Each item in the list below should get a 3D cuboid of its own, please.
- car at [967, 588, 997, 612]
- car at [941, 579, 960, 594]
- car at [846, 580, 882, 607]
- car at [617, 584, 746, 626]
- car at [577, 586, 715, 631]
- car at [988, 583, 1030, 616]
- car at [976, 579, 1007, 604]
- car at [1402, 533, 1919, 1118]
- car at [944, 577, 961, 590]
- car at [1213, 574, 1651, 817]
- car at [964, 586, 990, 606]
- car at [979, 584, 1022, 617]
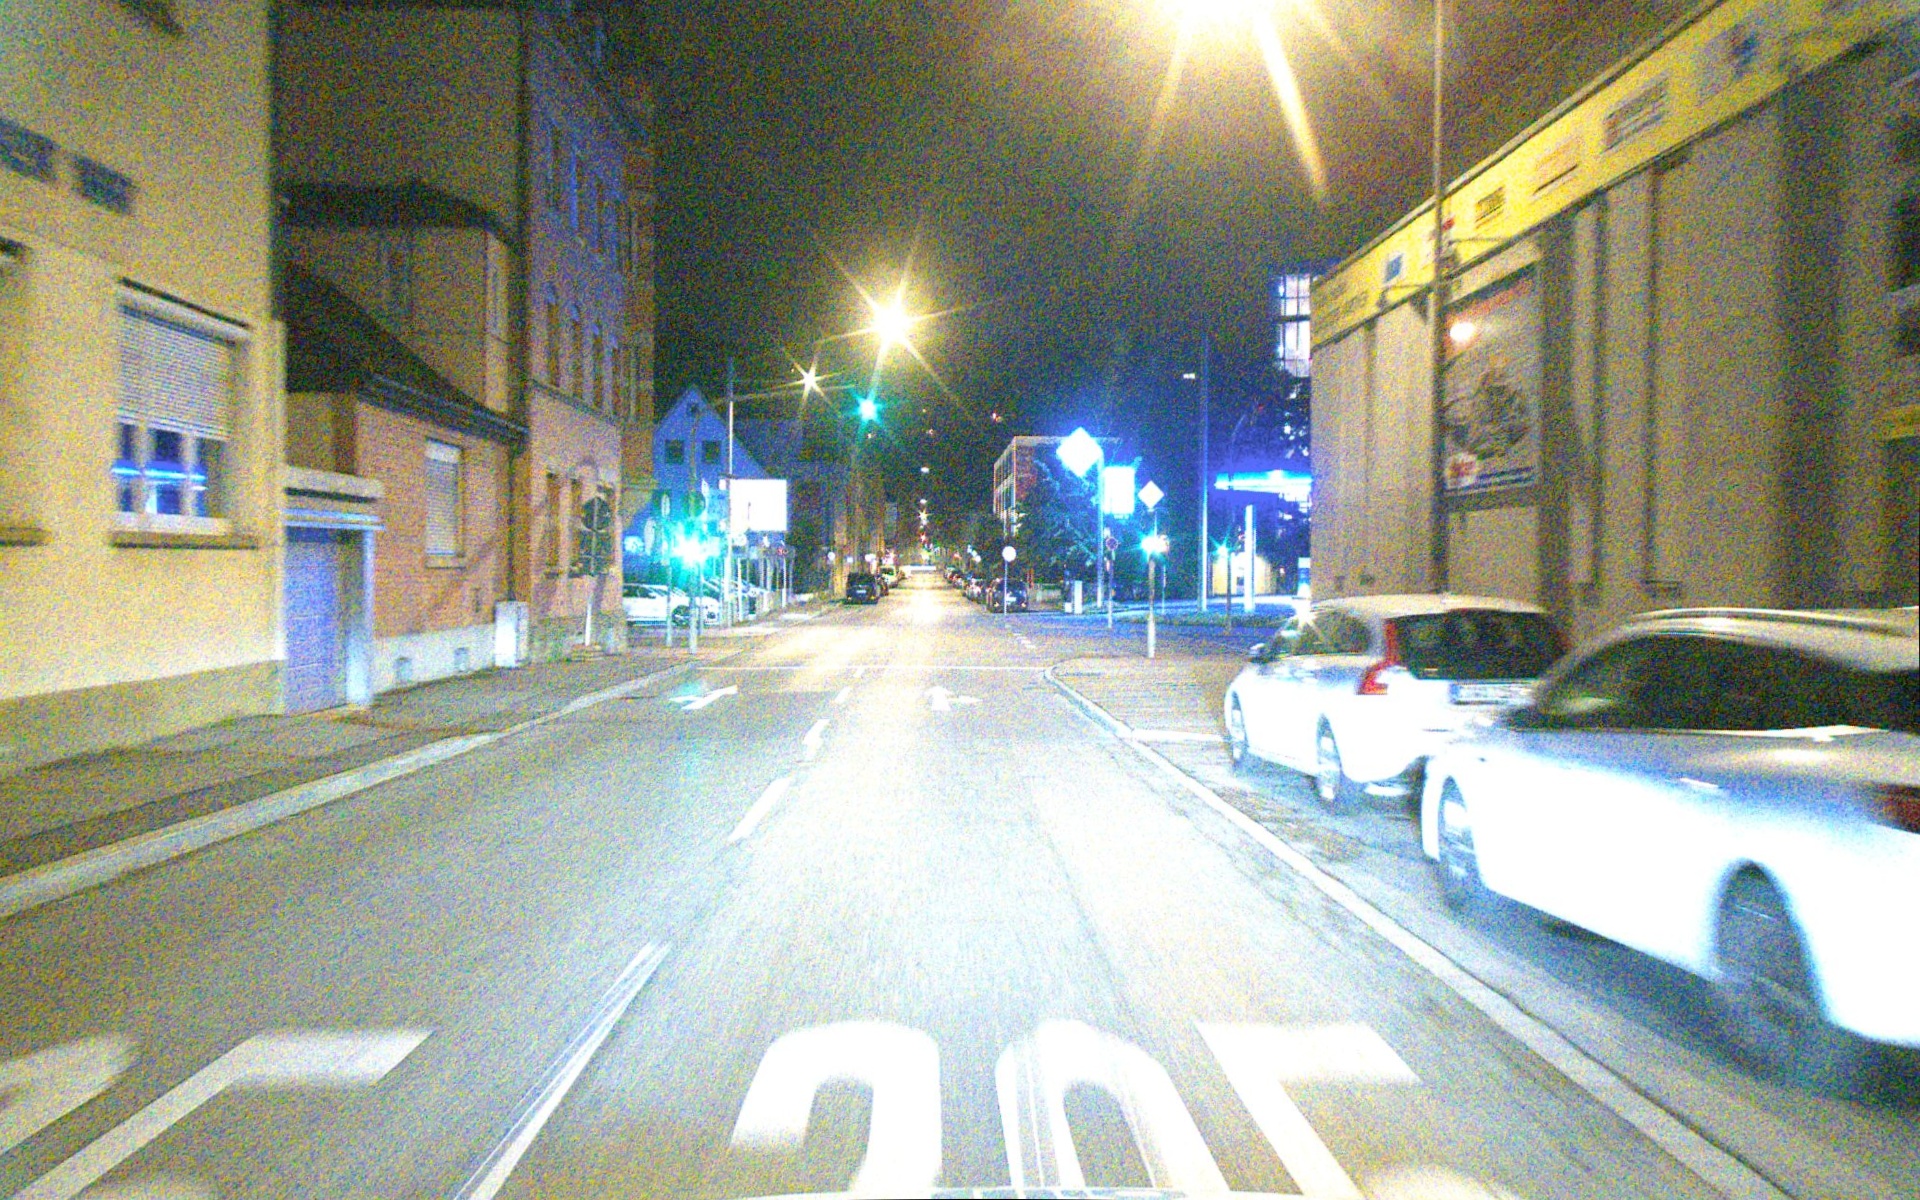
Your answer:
[{"bbox_3d":[1.494,0.021,111.991,1.952,1.546,4.000,1,0,0],"label":"car"},{"bbox_3d":[-0.965,-1.425,176.876,1.952,1.546,4.000,1,0,0],"label":"car"},{"bbox_3d":[-5.741,-0.368,99.124,1.953,1.528,3.999,1,0,-1],"label":"car"},{"bbox_3d":[-10.019,0.180,59.682,4.350,1.475,1.999,1,0,-3],"label":"car"},{"bbox_3d":[-10.691,0.293,56.522,4.349,1.475,1.999,1,0,-2],"label":"car"},{"bbox_3d":[2.360,-0.035,80.744,1.952,1.543,4.000,1,0,0],"label":"car"},{"bbox_3d":[1.970,-0.525,104.581,1.952,1.546,4.000,1,0,0],"label":"car"},{"bbox_3d":[3.330,0.620,6.492,1.739,1.571,4.543,1,0,-4],"label":"car"},{"bbox_3d":[-0.867,-1.980,200.274,1.952,1.546,4.000,1,0,0],"label":"car"},{"bbox_3d":[3.320,0.611,12.661,1.823,1.515,4.543,1,0,-4],"label":"car"},{"bbox_3d":[1.306,-0.321,129.211,1.952,1.546,4.000,1,0,0],"label":"car"},{"bbox_3d":[2.048,0.012,85.649,1.953,1.623,3.998,1,0,-2],"label":"car"}]
